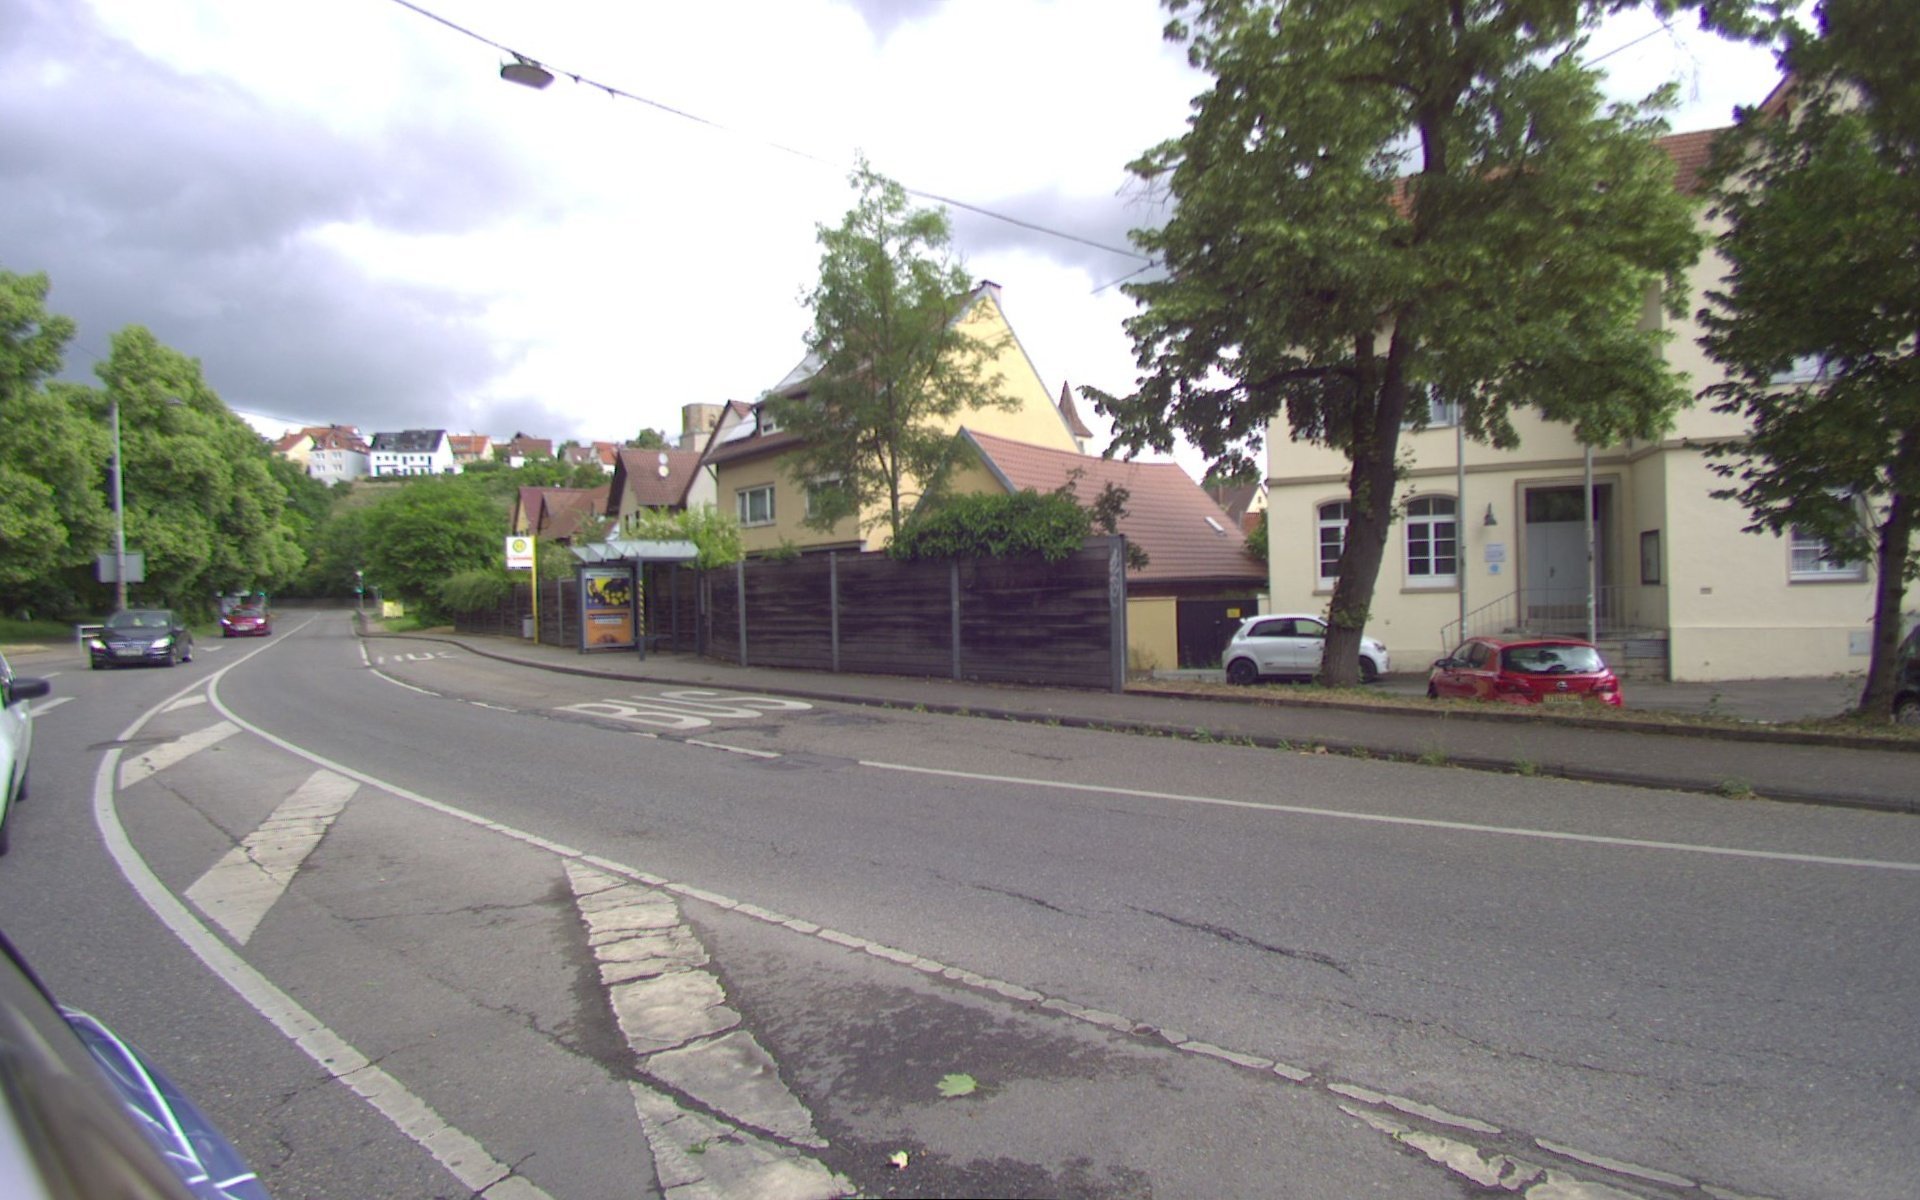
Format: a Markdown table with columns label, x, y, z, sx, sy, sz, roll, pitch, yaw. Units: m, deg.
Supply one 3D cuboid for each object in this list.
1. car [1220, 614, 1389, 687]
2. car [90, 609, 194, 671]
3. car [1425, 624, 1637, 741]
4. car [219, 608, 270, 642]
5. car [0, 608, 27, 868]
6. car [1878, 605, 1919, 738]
| label | x | y | z | sx | sy | sz | roll | pitch | yaw |
| --- | --- | --- | --- | --- | --- | --- | --- | --- | --- |
| car | 7.751 | 1.109 | 22.926 | 3.487 | 1.528 | 1.581 | -1 | 0 | 20 |
| car | -22.486 | 1.041 | 27.943 | 1.696 | 1.559 | 3.793 | -1 | 0 | -31 |
| car | 8.130 | 1.105 | 14.770 | 1.590 | 1.389 | 3.544 | -1 | 0 | 10 |
| car | -37.293 | 1.257 | 52.818 | 1.798 | 1.685 | 4.070 | -1 | 0 | -30 |
| car | -7.149 | 0.834 | 6.468 | 1.594 | 1.525 | 3.610 | -1 | 0 | -41 |
| car | 12.703 | 0.889 | 11.587 | 1.586 | 1.644 | 3.093 | -1 | 0 | 2 |
